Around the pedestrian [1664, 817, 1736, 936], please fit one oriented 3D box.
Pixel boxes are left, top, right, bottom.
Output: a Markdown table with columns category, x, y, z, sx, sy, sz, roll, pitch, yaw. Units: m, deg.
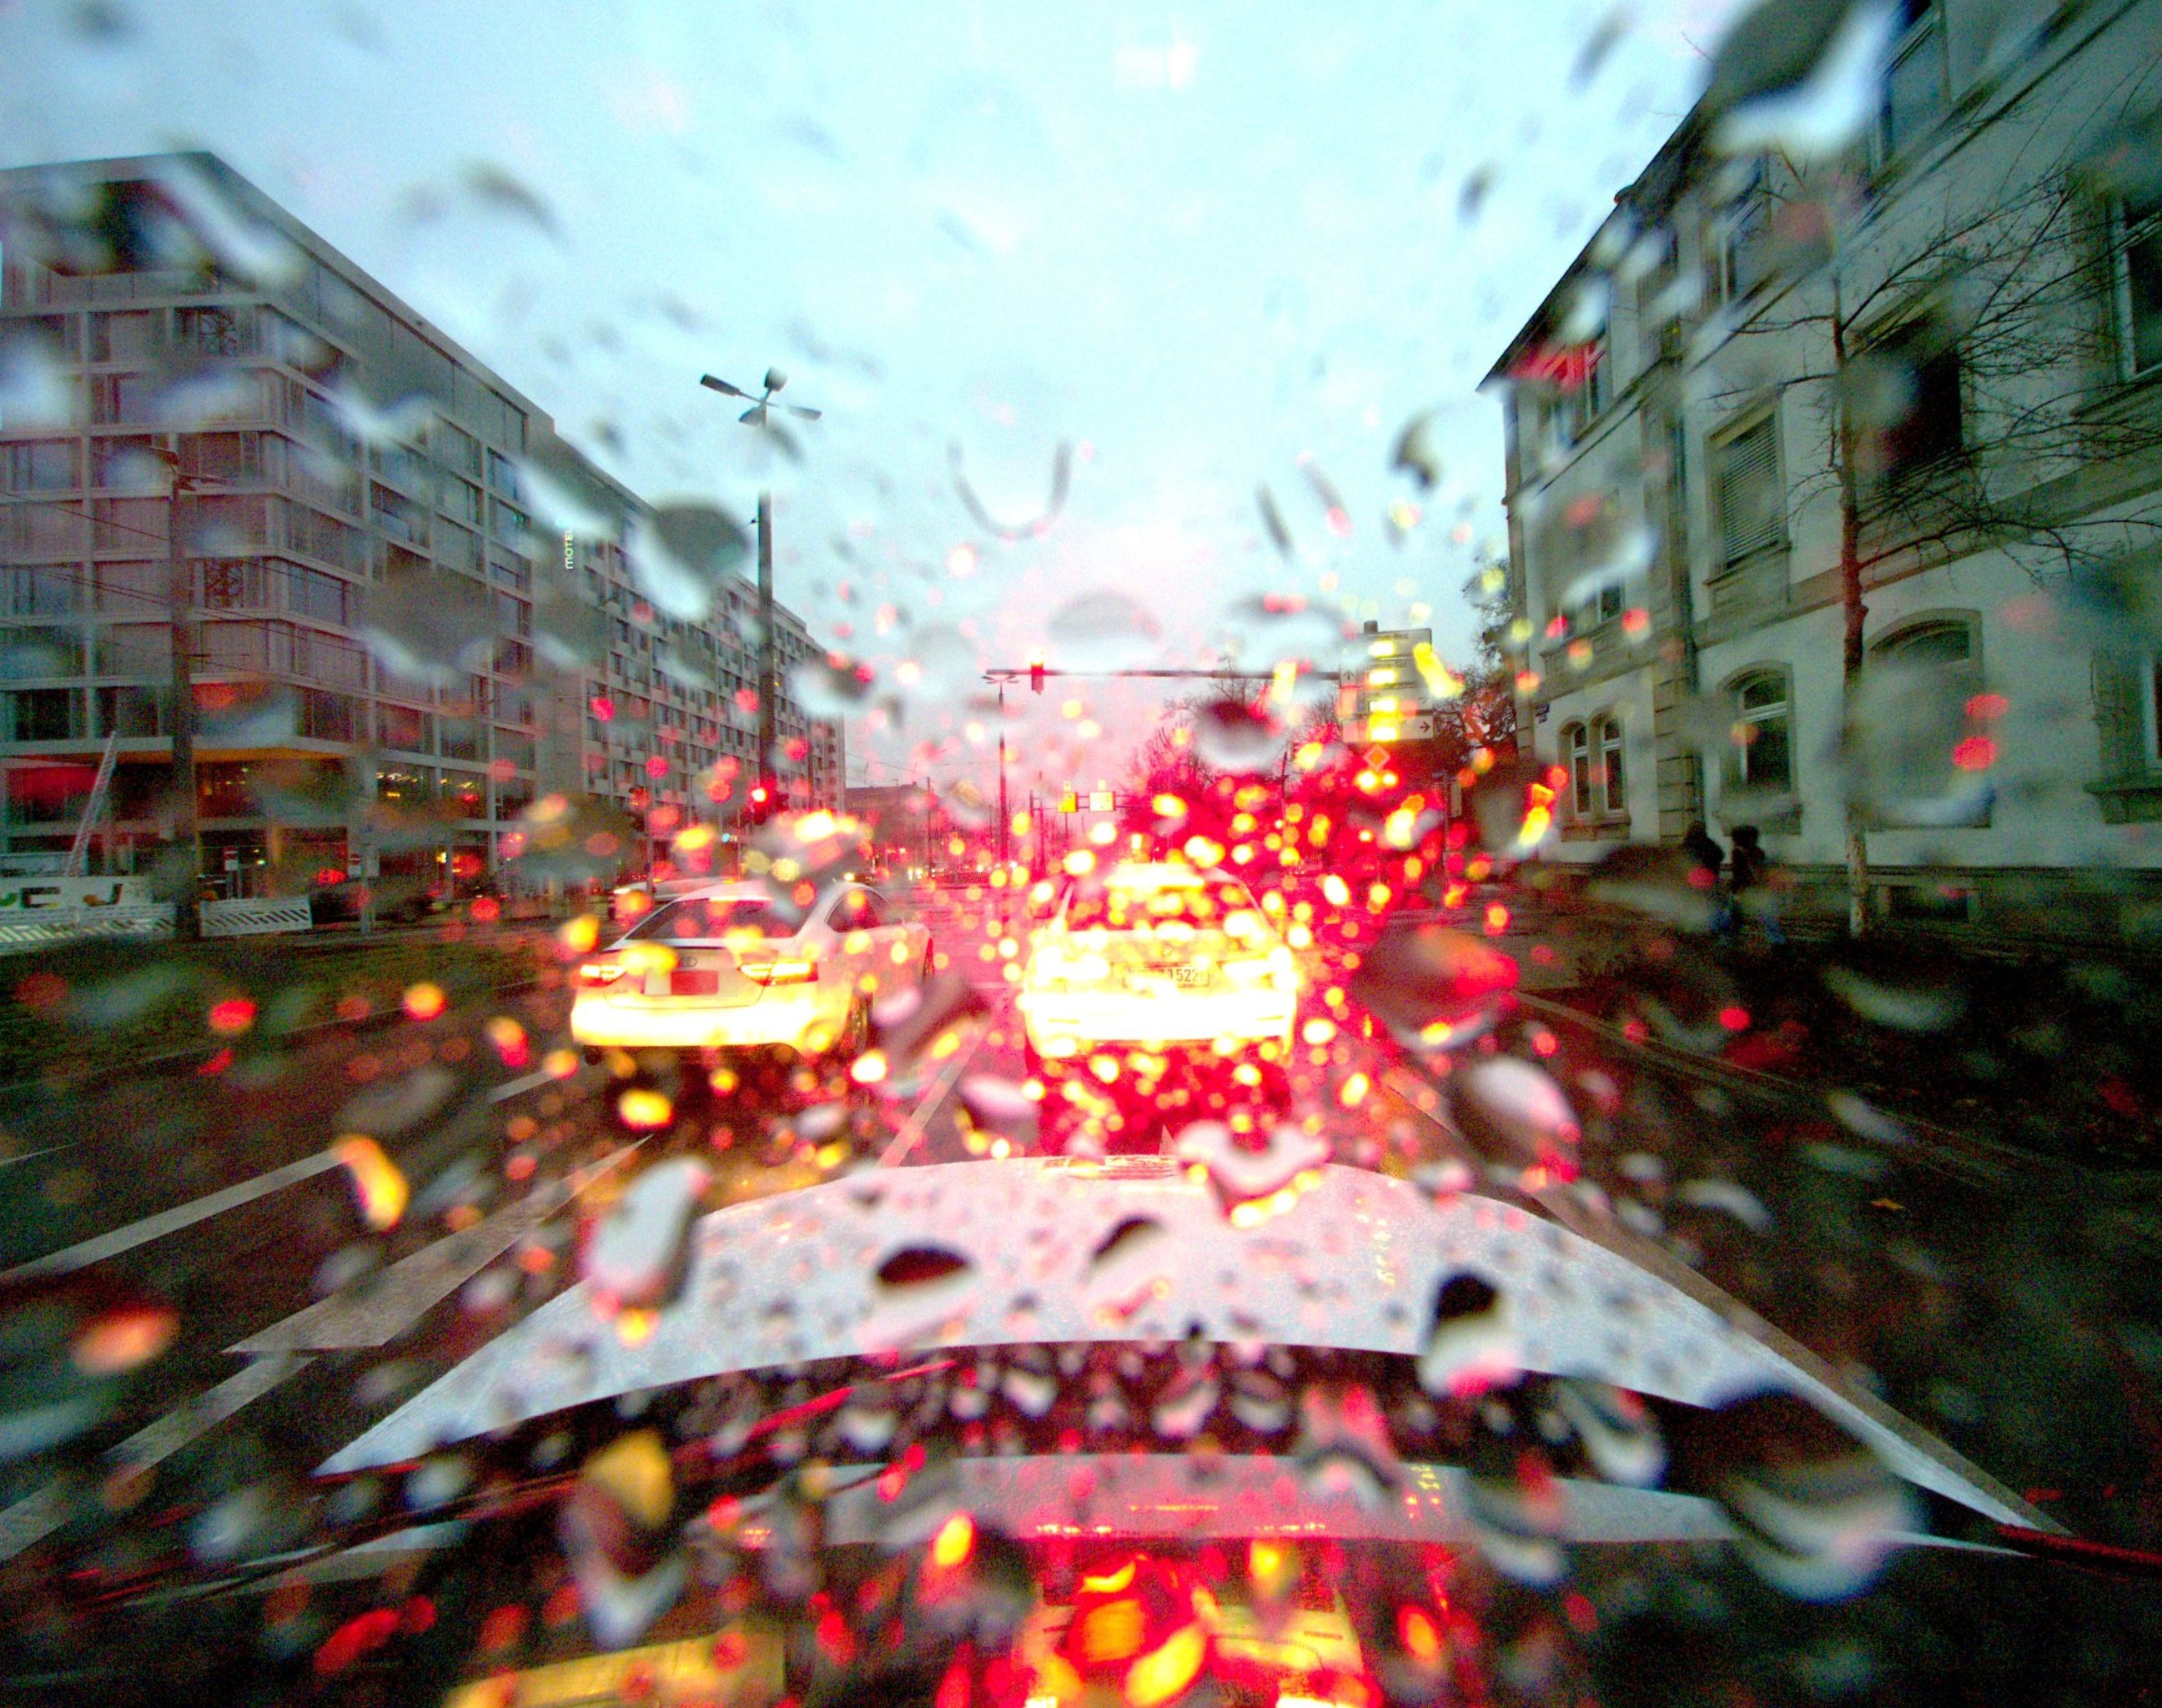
| category | x | y | z | sx | sy | sz | roll | pitch | yaw |
| --- | --- | --- | --- | --- | --- | --- | --- | --- | --- |
| pedestrian | 8.941 | 0.314 | 11.771 | 0.774 | 1.632 | 1.017 | -1 | -1 | 37 |

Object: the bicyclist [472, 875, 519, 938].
| category | x | y | z | sx | sy | sz | roll | pitch | yaw |
| --- | --- | --- | --- | --- | --- | --- | --- | --- | --- |
| bicyclist | -27.188 | 2.420 | 37.841 | 1.344 | 2.828 | 1.192 | 0 | -1 | -2 |

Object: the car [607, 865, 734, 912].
| category | x | y | z | sx | sy | sz | roll | pitch | yaw |
| --- | --- | --- | --- | --- | --- | --- | --- | --- | --- |
| car | -15.775 | 1.303 | 31.538 | 4.080 | 1.687 | 1.947 | 0 | -1 | -17 |

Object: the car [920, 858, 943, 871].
| category | x | y | z | sx | sy | sz | roll | pitch | yaw |
| --- | --- | --- | --- | --- | --- | --- | --- | --- | --- |
| car | -18.066 | 1.248 | 98.531 | 1.988 | 1.462 | 5.090 | 0 | -1 | -2 |

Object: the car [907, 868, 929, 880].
| category | x | y | z | sx | sy | sz | roll | pitch | yaw |
| --- | --- | --- | --- | --- | --- | --- | --- | --- | --- |
| car | -22.624 | 2.766 | 113.333 | 1.987 | 1.462 | 5.094 | 0 | -1 | 0 |

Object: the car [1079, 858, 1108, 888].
| category | x | y | z | sx | sy | sz | roll | pitch | yaw |
| --- | --- | --- | --- | --- | --- | --- | --- | --- | --- |
| car | 0.934 | 1.333 | 57.350 | 1.986 | 2.014 | 4.001 | 0 | -1 | 2 |

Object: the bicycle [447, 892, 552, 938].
| category | x | y | z | sx | sy | sz | roll | pitch | yaw |
| --- | --- | --- | --- | --- | --- | --- | --- | --- | --- |
| bicycle | -26.978 | 2.826 | 37.842 | 3.976 | 2.014 | 1.192 | 0 | -1 | -2 |

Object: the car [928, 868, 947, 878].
| category | x | y | z | sx | sy | sz | roll | pitch | yaw |
| --- | --- | --- | --- | --- | --- | --- | --- | --- | --- |
| car | -22.256 | 2.873 | 126.400 | 1.987 | 1.462 | 5.094 | 0 | -1 | 0 |

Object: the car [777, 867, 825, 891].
| category | x | y | z | sx | sy | sz | roll | pitch | yaw |
| --- | --- | --- | --- | --- | --- | --- | --- | --- | --- |
| car | -21.665 | 1.910 | 63.131 | 1.873 | 1.789 | 4.603 | 0 | -1 | 4 |

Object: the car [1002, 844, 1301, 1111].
| category | x | y | z | sx | sy | sz | roll | pitch | yaw |
| --- | --- | --- | --- | --- | --- | --- | --- | --- | --- |
| car | 0.411 | 0.738 | 6.920 | 1.754 | 1.552 | 4.250 | 0 | -1 | 0 |

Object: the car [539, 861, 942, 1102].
| category | x | y | z | sx | sy | sz | roll | pitch | yaw |
| --- | --- | --- | --- | --- | --- | --- | --- | --- | --- |
| car | -2.466 | 0.802 | 7.160 | 1.754 | 1.470 | 4.250 | 0 | -1 | 0 |

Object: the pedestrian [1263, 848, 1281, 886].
| category | x | y | z | sx | sy | sz | roll | pitch | yaw |
| --- | --- | --- | --- | --- | --- | --- | --- | --- | --- |
| pedestrian | 9.495 | 0.662 | 40.488 | 0.710 | 1.879 | 0.675 | 0 | -1 | 1 |

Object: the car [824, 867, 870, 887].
| category | x | y | z | sx | sy | sz | roll | pitch | yaw |
| --- | --- | --- | --- | --- | --- | --- | --- | --- | --- |
| car | -18.410 | 1.754 | 64.289 | 1.986 | 1.462 | 5.097 | 0 | -1 | 2 |

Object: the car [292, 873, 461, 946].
| category | x | y | z | sx | sy | sz | roll | pitch | yaw |
| --- | --- | --- | --- | --- | --- | --- | --- | --- | --- |
| car | -23.153 | 1.737 | 26.890 | 4.107 | 2.123 | 1.935 | 0 | -1 | -44 |

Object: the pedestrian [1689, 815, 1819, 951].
| category | x | y | z | sx | sy | sz | roll | pitch | yaw |
| --- | --- | --- | --- | --- | --- | --- | --- | --- | --- |
| pedestrian | 8.201 | 0.347 | 9.981 | 0.778 | 1.579 | 1.012 | 0 | -1 | 4 |

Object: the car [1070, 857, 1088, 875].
| category | x | y | z | sx | sy | sz | roll | pitch | yaw |
| --- | --- | --- | --- | --- | --- | --- | --- | --- | --- |
| car | -0.220 | 1.370 | 94.755 | 1.986 | 2.014 | 4.001 | 0 | -1 | 2 |
